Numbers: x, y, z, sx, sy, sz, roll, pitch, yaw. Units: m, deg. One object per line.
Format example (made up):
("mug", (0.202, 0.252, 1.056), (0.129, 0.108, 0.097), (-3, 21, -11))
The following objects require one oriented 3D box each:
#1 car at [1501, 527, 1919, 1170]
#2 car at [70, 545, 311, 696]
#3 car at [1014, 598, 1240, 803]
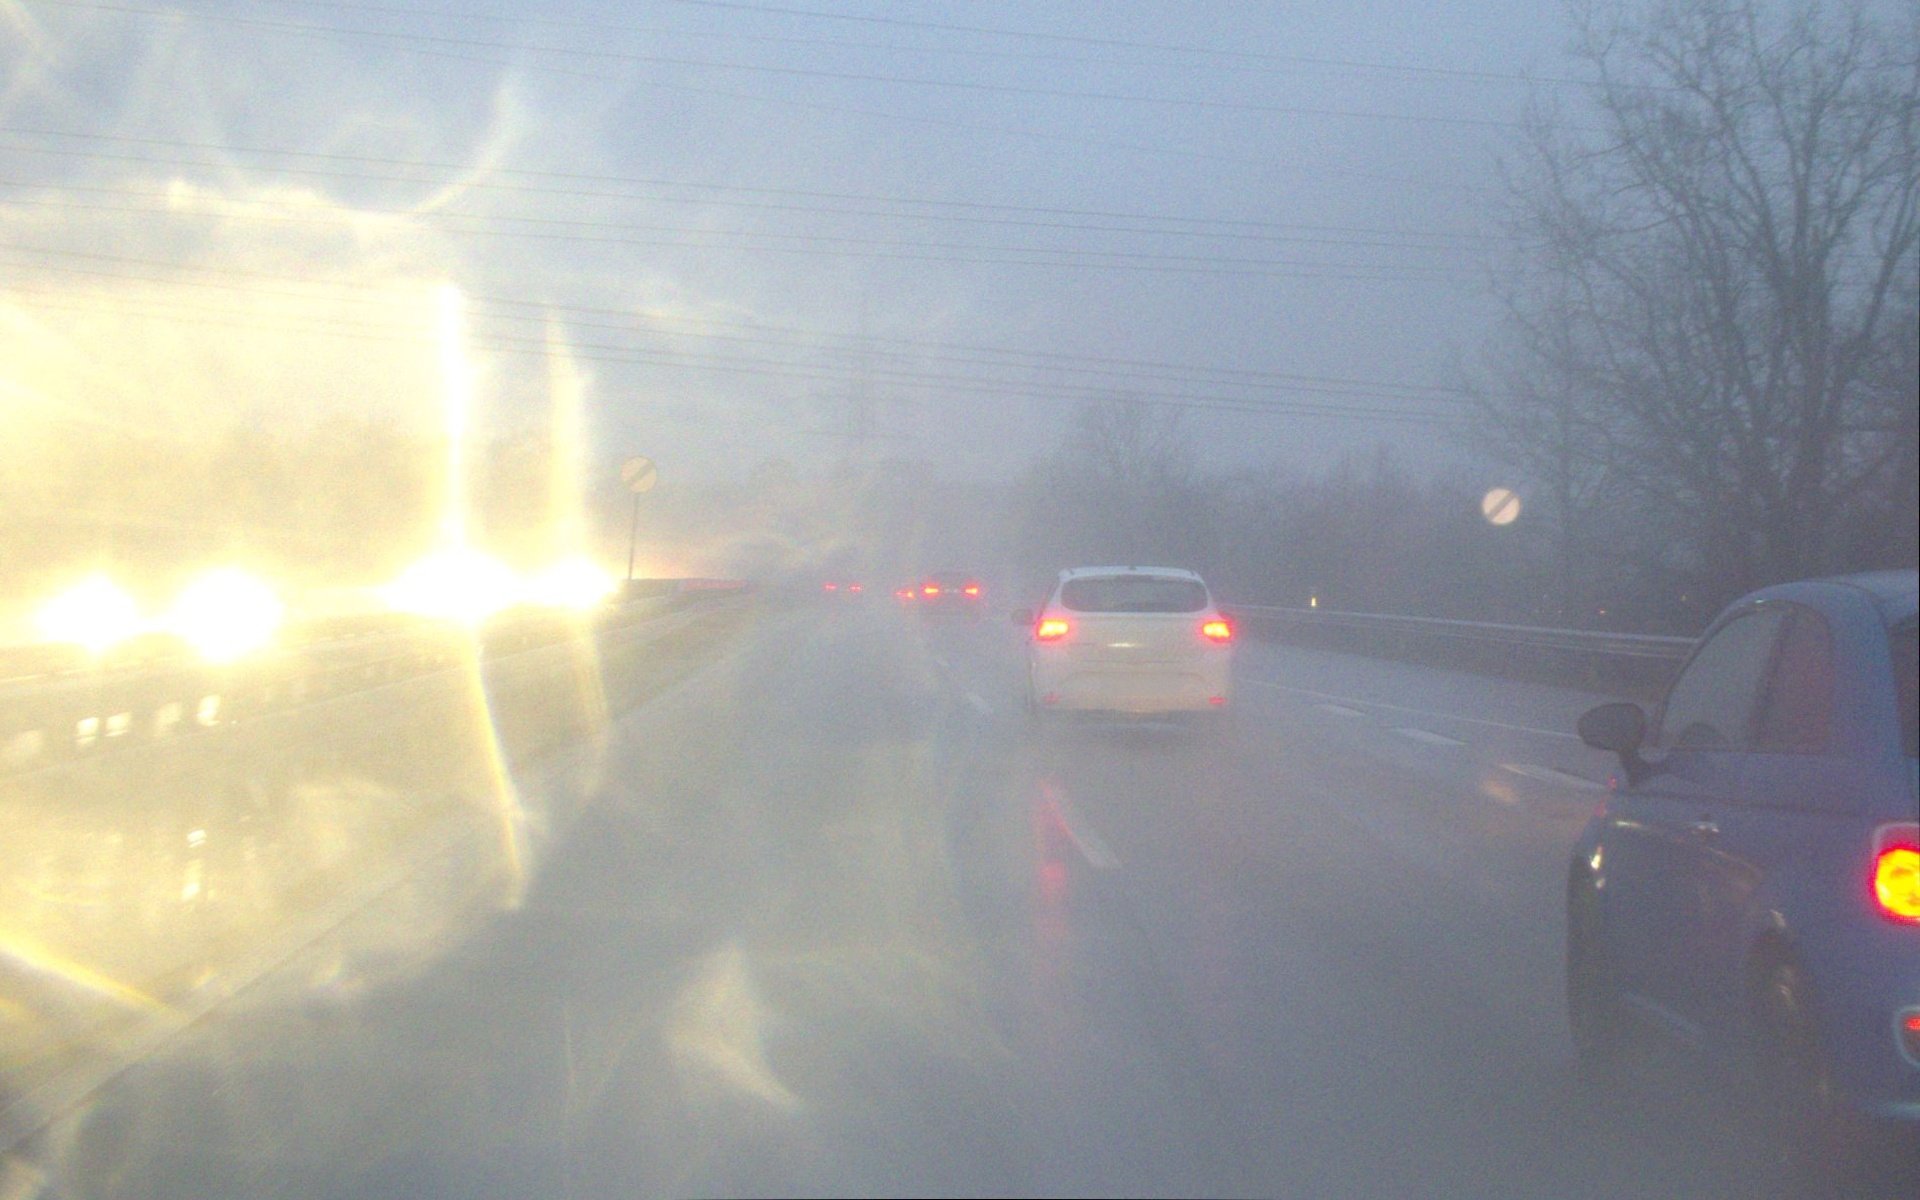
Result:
("car", (2.855, 0.537, 10.032), (1.845, 1.448, 4.149), (0, 2, -1))
("car", (-8.699, 0.185, 39.224), (1.817, 1.546, 4.469), (0, 2, -1))
("car", (1.425, 0.837, 30.685), (1.845, 1.630, 3.768), (1, 1, 1))
